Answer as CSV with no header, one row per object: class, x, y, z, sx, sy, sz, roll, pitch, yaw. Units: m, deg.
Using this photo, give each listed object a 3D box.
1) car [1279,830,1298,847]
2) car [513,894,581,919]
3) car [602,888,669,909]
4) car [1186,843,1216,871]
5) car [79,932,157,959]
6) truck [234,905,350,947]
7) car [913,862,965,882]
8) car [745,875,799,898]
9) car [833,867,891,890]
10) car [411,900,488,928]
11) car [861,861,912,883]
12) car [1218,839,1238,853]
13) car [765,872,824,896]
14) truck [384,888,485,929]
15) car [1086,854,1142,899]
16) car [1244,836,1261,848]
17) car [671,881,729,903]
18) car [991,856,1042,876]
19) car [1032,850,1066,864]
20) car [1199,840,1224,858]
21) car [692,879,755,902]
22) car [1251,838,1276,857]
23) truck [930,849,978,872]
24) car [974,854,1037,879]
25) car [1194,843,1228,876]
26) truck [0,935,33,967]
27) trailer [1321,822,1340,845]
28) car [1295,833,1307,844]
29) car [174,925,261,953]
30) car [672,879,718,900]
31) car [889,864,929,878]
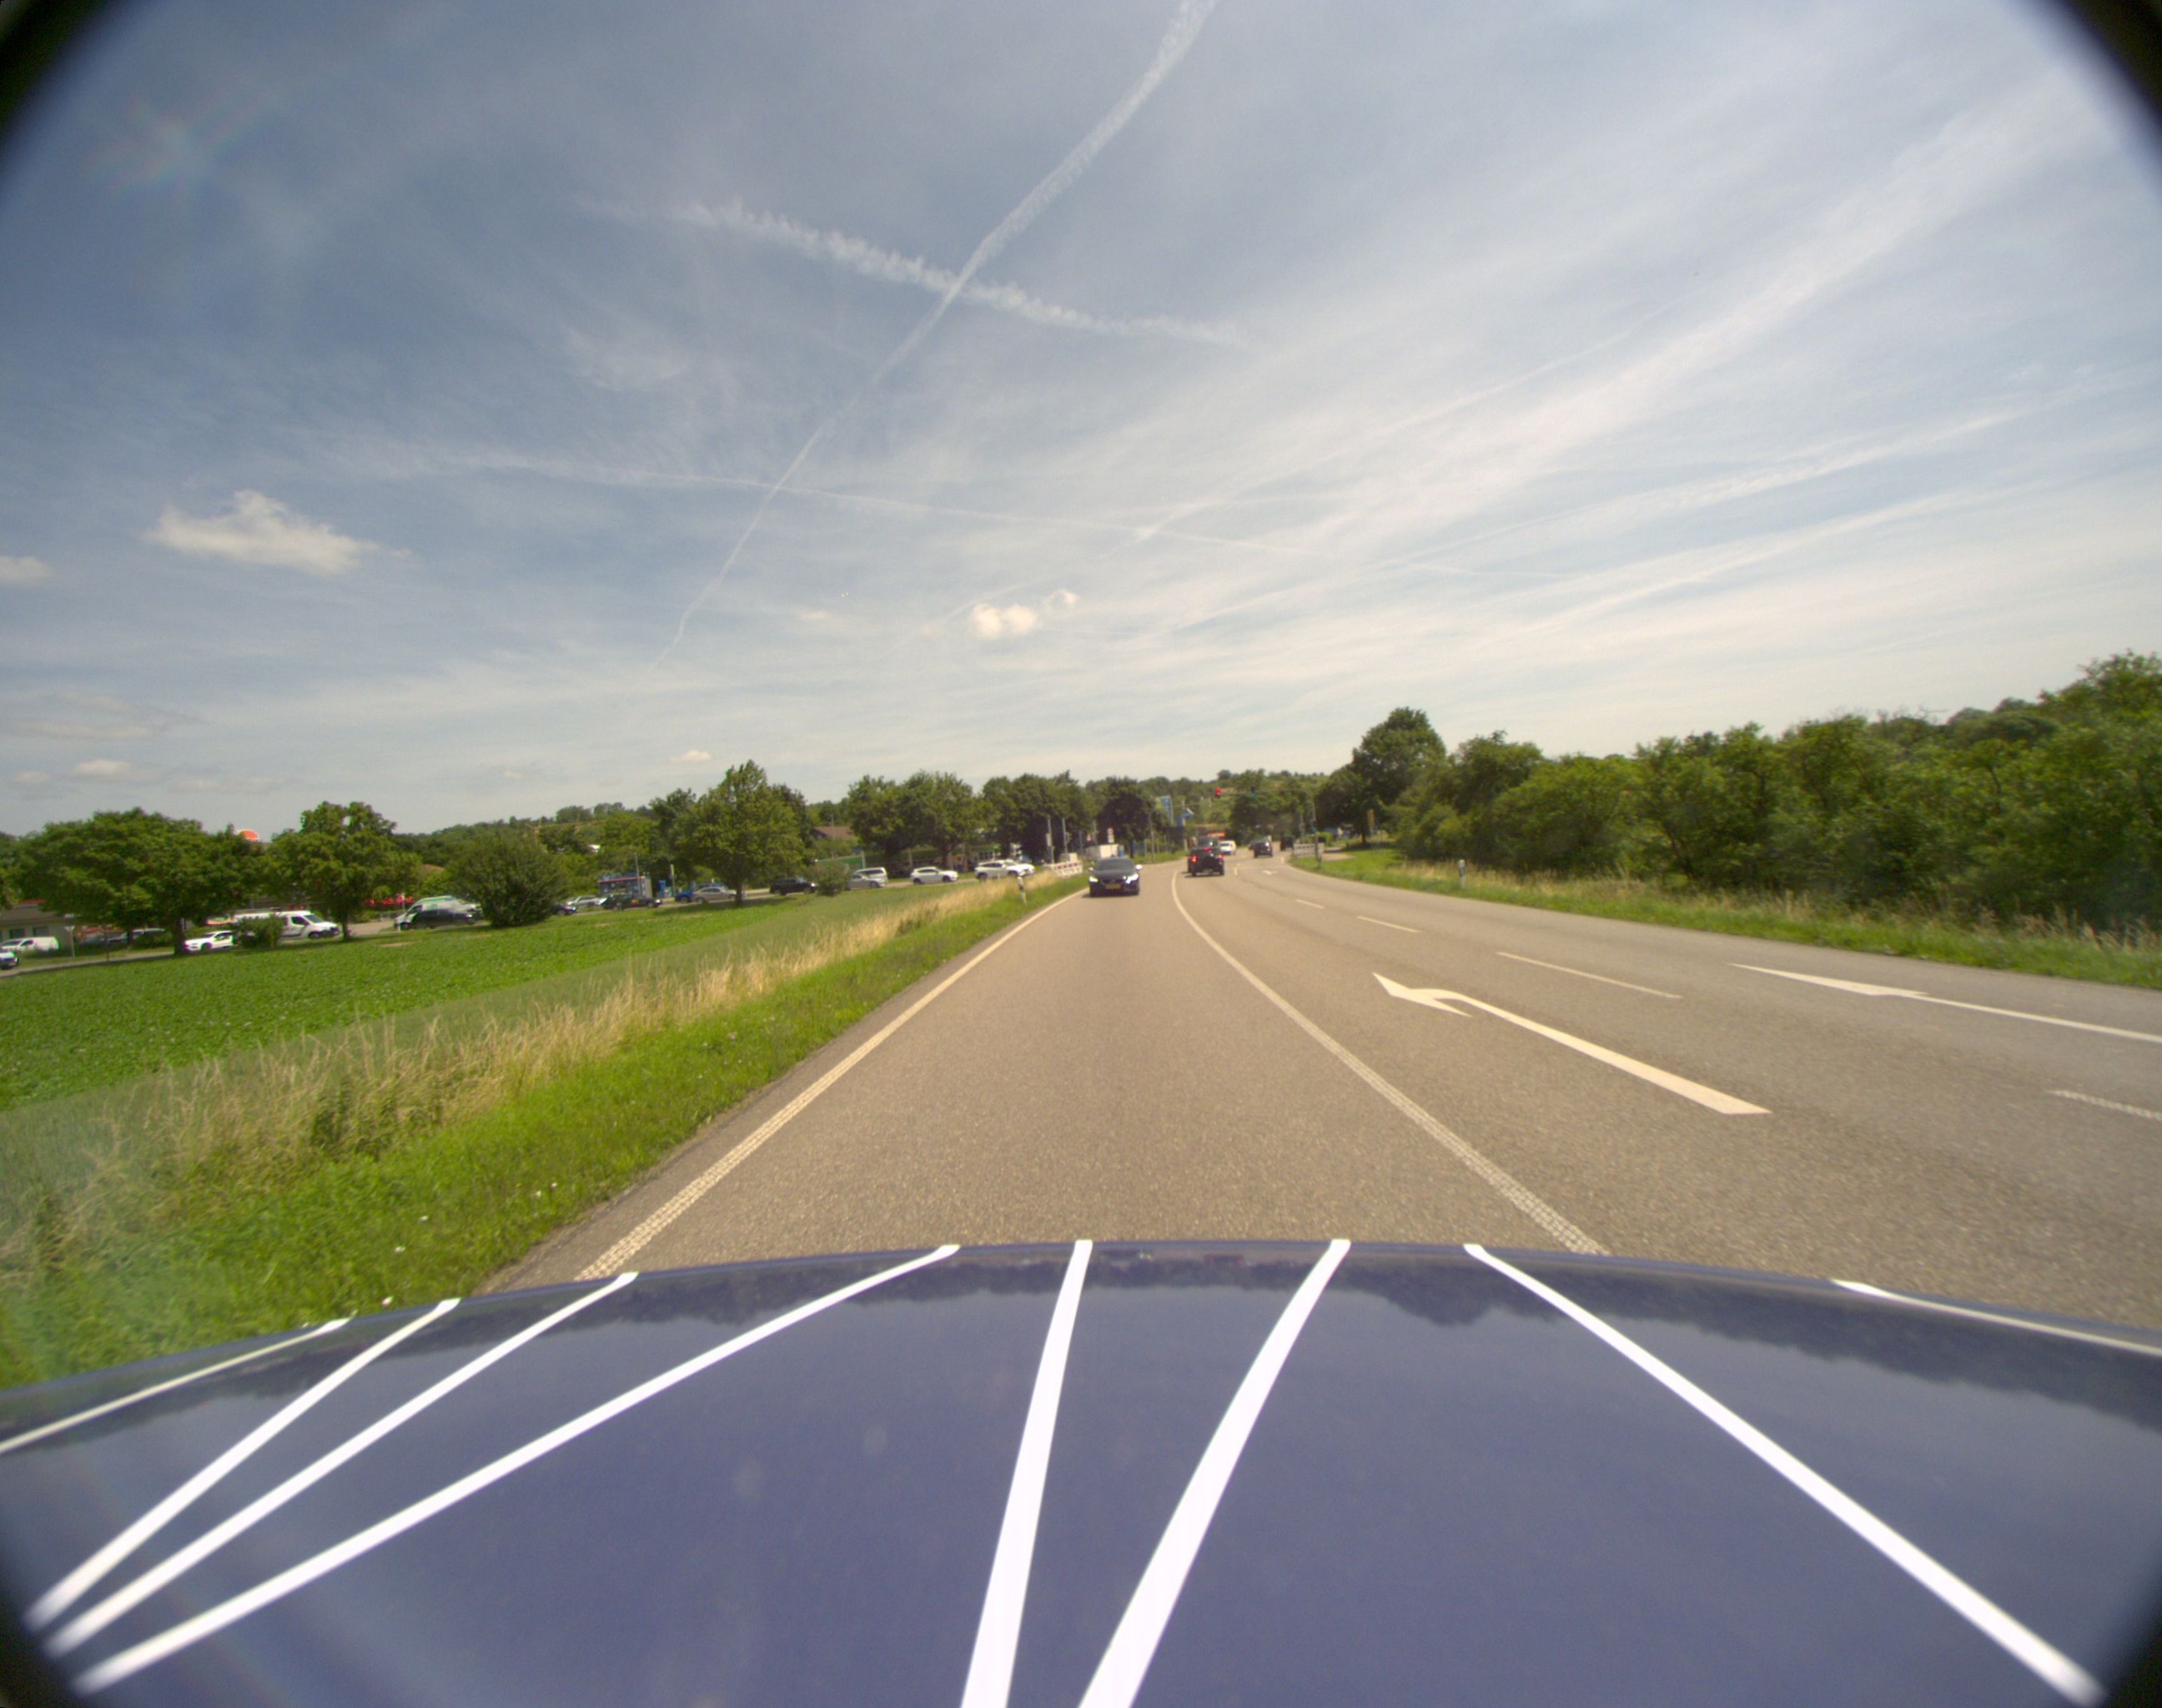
car,28.215,-2.139,103.228,1.997,1.994,5.169,-3,1,18
car,-44.733,4.416,63.774,4.235,1.502,1.798,-5,2,-19
car,-38.429,3.846,65.655,4.564,1.266,1.798,-5,2,-17
car,7.910,0.155,49.919,1.774,1.649,4.002,-3,1,10
car,-88.465,8.372,69.843,4.001,1.814,1.820,-5,2,-15
truck,-60.414,5.463,58.321,5.643,2.353,2.049,-5,2,-23
car,-12.558,1.578,67.381,4.101,1.411,1.801,-4,2,6
car,-29.984,3.140,73.864,4.527,1.682,1.864,-5,2,-13
car,-19.628,2.170,68.167,4.559,1.502,1.800,-5,2,-1
car,-51.779,4.930,62.375,4.293,1.688,1.997,-5,2,-16
car,-19.050,1.768,74.628,4.526,1.682,1.865,-4,2,-8
car,18.774,-1.032,97.020,1.780,1.484,4.162,-3,2,21
car,-25.748,2.678,68.386,4.560,1.502,1.799,-6,4,-4
truck,-54.693,4.546,64.456,5.946,2.722,2.070,-5,3,-17
car,1.314,0.797,28.522,1.782,1.484,4.159,-2,0,6
car,26.526,-1.824,117.600,1.806,1.722,4.005,-4,0,22
car,-35.118,3.505,70.074,4.389,1.549,1.783,-4,0,-13
car,-5.687,1.019,66.722,3.965,1.411,1.830,-4,2,19
car,-4.669,0.380,110.443,4.637,1.612,1.994,-6,3,-44
car,14.814,-0.577,86.386,1.806,1.723,4.004,-4,2,23
car,-31.457,3.222,66.925,4.562,1.502,1.799,-5,2,-9
car,18.868,-0.678,78.369,1.996,1.686,4.004,-2,2,19
truck,-17.209,0.856,103.289,2.257,2.603,6.159,-3,2,45
car,-6.225,1.039,62.521,4.632,1.599,2.000,-5,3,18
car,7.502,0.293,43.595,1.774,1.649,4.002,-3,1,11
truck,-76.331,6.939,51.805,5.479,1.965,1.797,-6,2,-22
trailer,45.929,-3.761,140.144,2.570,4.007,13.607,-3,1,16
car,34.154,-2.433,117.907,1.773,1.487,4.004,-2,1,17
car,-73.123,7.201,64.447,1.875,1.550,4.501,-4,2,6
car,-41.899,3.805,82.528,4.002,1.814,1.820,-5,2,-16
car,-20.848,2.030,92.060,4.326,1.355,1.756,-6,2,-31
